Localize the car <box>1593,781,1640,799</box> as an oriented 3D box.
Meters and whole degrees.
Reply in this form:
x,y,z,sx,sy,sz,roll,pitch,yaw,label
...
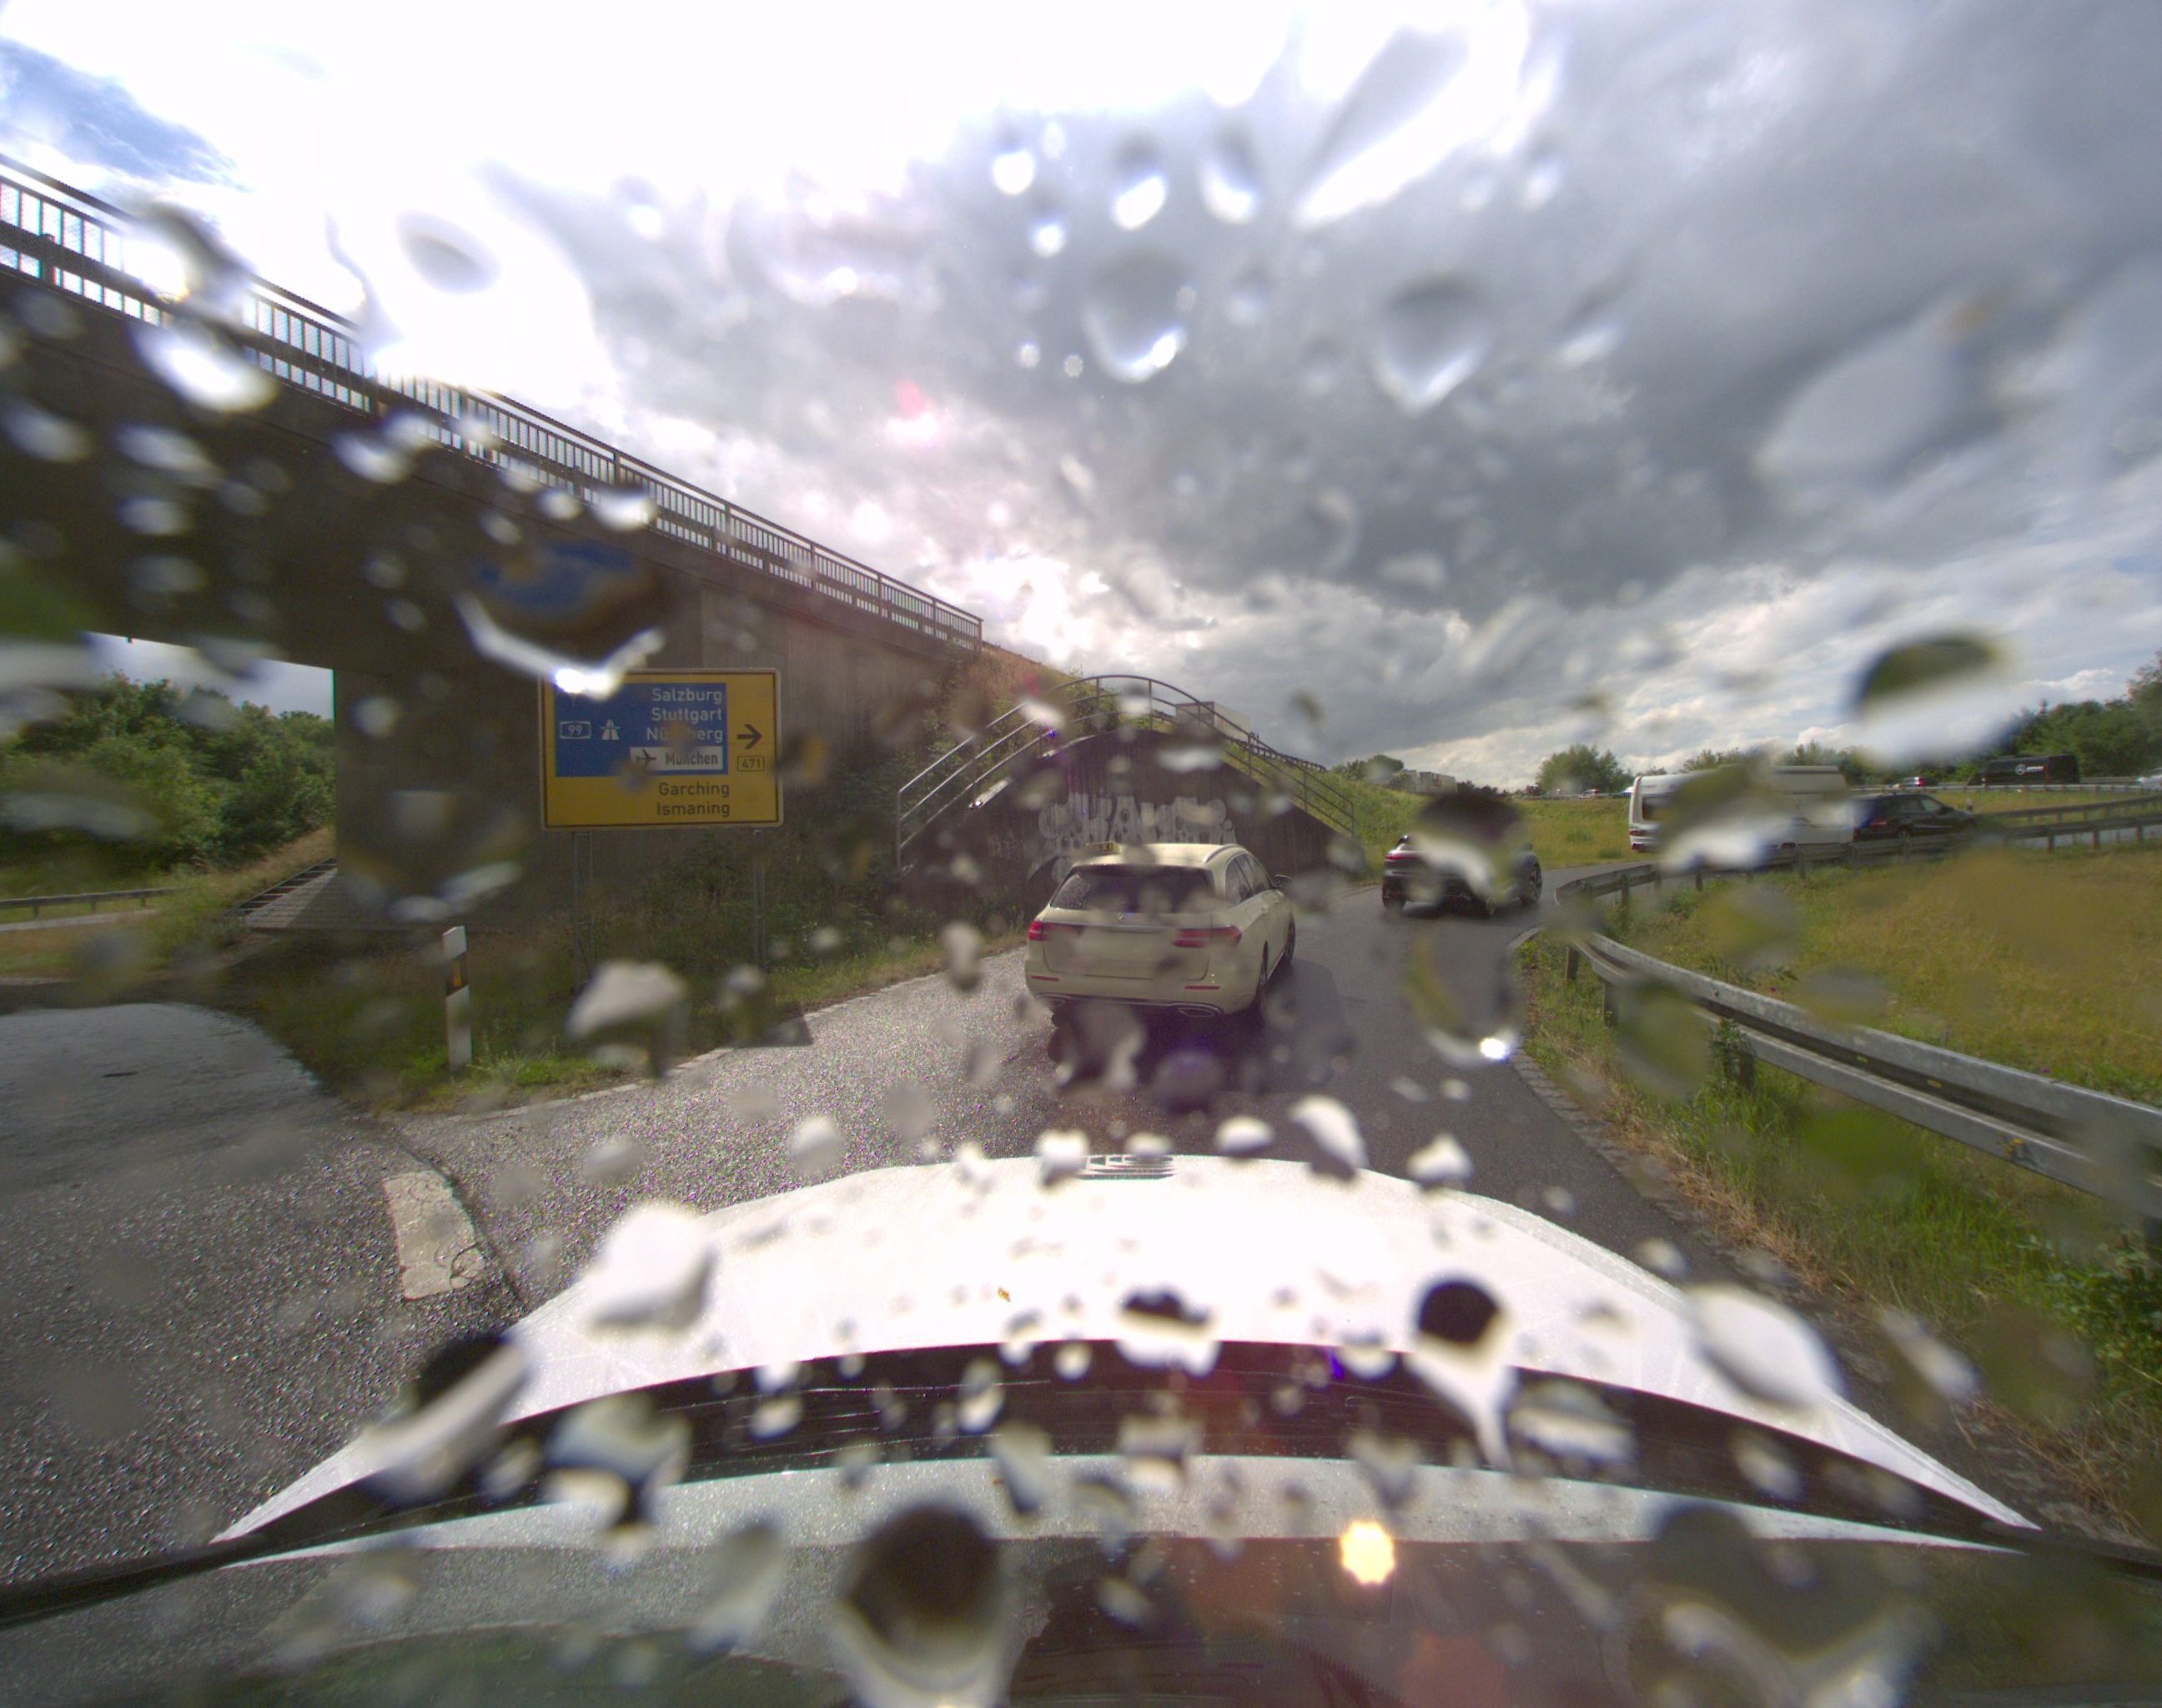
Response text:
x,y,z,sx,sy,sz,roll,pitch,yaw,label
68.887,-8.222,104.905,1.995,1.861,5.036,-2,1,-13,car

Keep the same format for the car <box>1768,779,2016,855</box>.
x,y,z,sx,sy,sz,roll,pitch,yaw,label
23.559,-1.104,23.750,5.746,1.925,2.427,-2,3,-12,car

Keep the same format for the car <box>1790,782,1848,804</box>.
x,y,z,sx,sy,sz,roll,pitch,yaw,label
73.780,-6.058,81.466,1.991,2.013,3.992,-2,2,-7,car

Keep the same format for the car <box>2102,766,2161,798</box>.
x,y,z,sx,sy,sz,roll,pitch,yaw,label
67.927,-4.577,51.495,1.647,1.784,5.081,-2,1,18,car

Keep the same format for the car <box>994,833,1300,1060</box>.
x,y,z,sx,sy,sz,roll,pitch,yaw,label
1.004,0.583,7.938,1.900,1.507,4.618,-1,1,18,car

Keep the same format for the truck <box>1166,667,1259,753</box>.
x,y,z,sx,sy,sz,roll,pitch,yaw,label
8.767,-9.118,53.129,3.150,3.966,9.293,0,0,28,truck

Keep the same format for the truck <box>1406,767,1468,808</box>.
x,y,z,sx,sy,sz,roll,pitch,yaw,label
51.982,-9.435,118.441,4.417,4.503,19.500,0,0,35,truck

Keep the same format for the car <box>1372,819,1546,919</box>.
x,y,z,sx,sy,sz,roll,pitch,yaw,label
6.971,0.160,14.816,1.702,1.524,4.025,1,3,43,car

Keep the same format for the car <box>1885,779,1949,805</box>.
x,y,z,sx,sy,sz,roll,pitch,yaw,label
74.192,-5.501,72.342,1.981,2.013,4.012,-2,1,11,car

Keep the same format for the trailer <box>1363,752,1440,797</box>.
x,y,z,sx,sy,sz,roll,pitch,yaw,label
40.677,-9.754,102.517,4.370,3.955,20.348,0,0,35,trailer

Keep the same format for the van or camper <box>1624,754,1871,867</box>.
x,y,z,sx,sy,sz,roll,pitch,yaw,label
18.185,-1.229,22.247,5.999,2.729,2.424,-3,2,-18,van or camper

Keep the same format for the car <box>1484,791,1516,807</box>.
x,y,z,sx,sy,sz,roll,pitch,yaw,label
58.084,-7.631,112.874,3.949,2.013,1.838,0,0,30,car

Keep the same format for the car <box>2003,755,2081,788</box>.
x,y,z,sx,sy,sz,roll,pitch,yaw,label
71.869,-6.149,60.995,1.978,2.013,4.019,0,0,18,car
